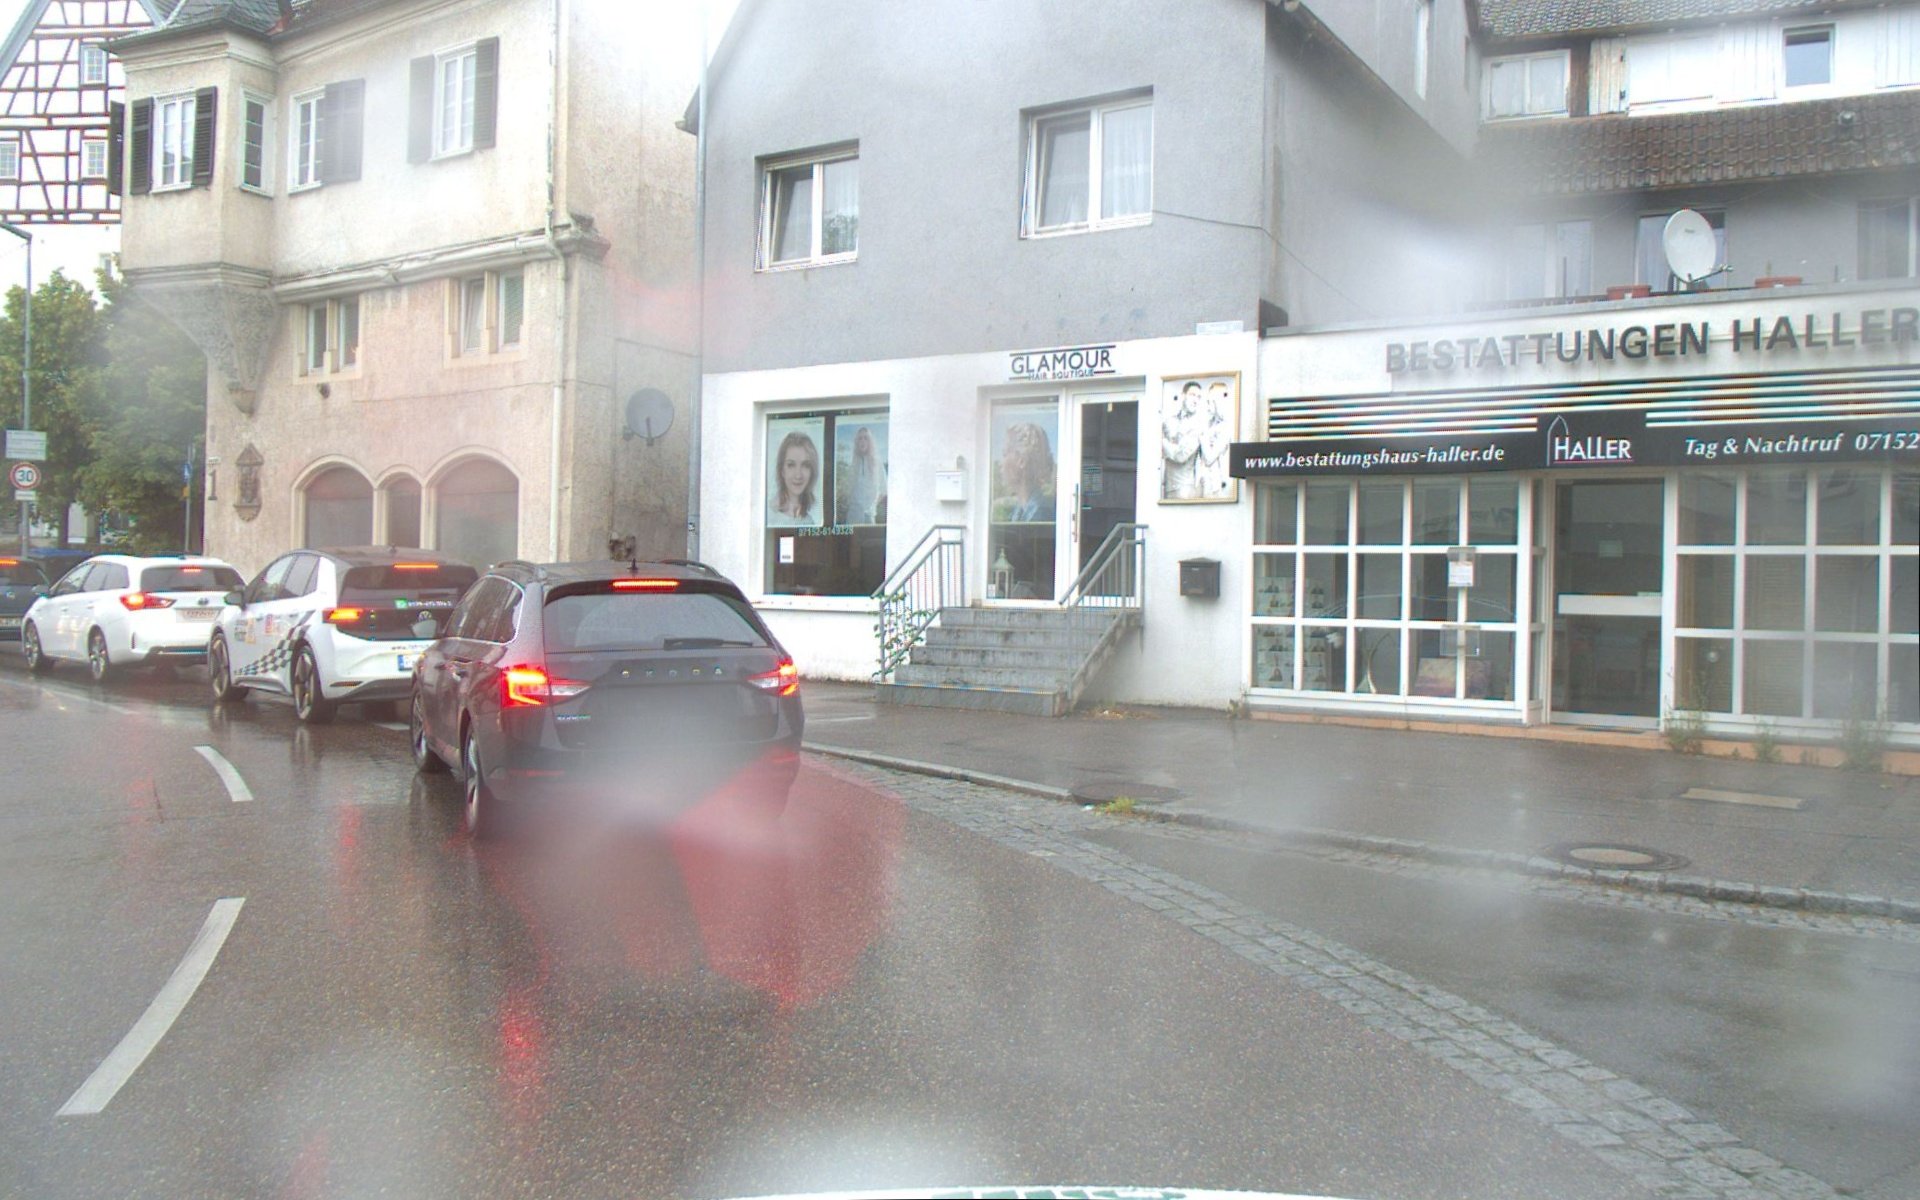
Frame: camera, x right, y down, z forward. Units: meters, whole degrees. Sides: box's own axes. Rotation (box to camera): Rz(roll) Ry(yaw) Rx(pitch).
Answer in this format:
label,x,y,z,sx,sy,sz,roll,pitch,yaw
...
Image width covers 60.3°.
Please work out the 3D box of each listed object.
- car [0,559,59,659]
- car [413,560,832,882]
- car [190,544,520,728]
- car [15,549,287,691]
label,x,y,z,sx,sy,sz,roll,pitch,yaw
car,-15.219,0.093,25.152,3.700,1.385,1.515,3,3,42
car,-2.281,0.527,10.200,1.709,1.475,4.211,0,2,-24
car,-5.993,0.249,16.094,1.777,1.543,4.182,-1,2,-39
car,-10.006,0.156,20.322,4.095,1.490,1.779,3,3,45
